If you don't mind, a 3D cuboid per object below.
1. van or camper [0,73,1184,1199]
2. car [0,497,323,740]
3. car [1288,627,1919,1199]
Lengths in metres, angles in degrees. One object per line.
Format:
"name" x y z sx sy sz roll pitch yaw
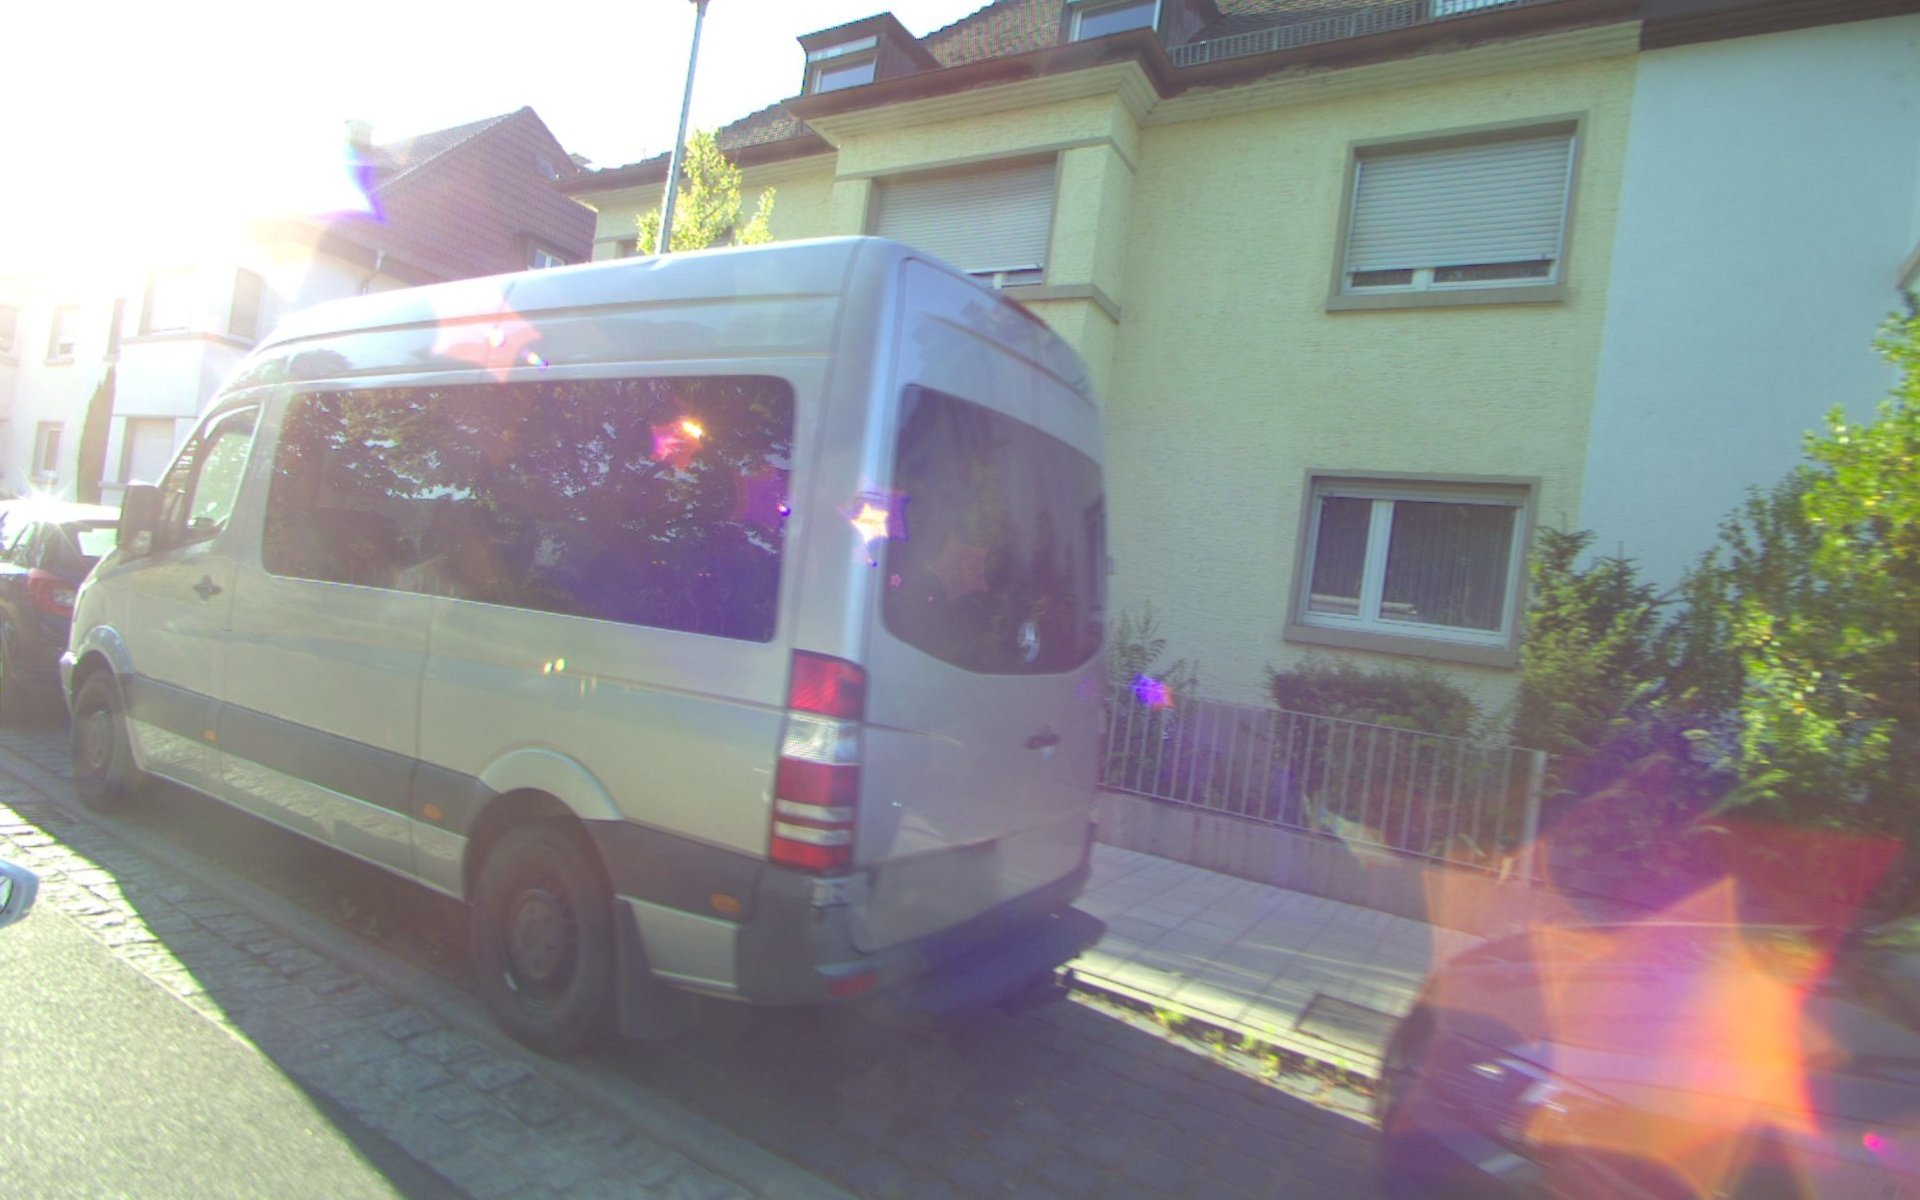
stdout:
"van or camper" -2.211 -0.075 4.851 5.842 2.808 1.948 6 -3 32
"car" -6.867 -0.009 7.859 3.903 1.429 1.622 7 2 32
"car" 2.875 1.164 1.808 4.018 1.610 1.668 7 -3 32
